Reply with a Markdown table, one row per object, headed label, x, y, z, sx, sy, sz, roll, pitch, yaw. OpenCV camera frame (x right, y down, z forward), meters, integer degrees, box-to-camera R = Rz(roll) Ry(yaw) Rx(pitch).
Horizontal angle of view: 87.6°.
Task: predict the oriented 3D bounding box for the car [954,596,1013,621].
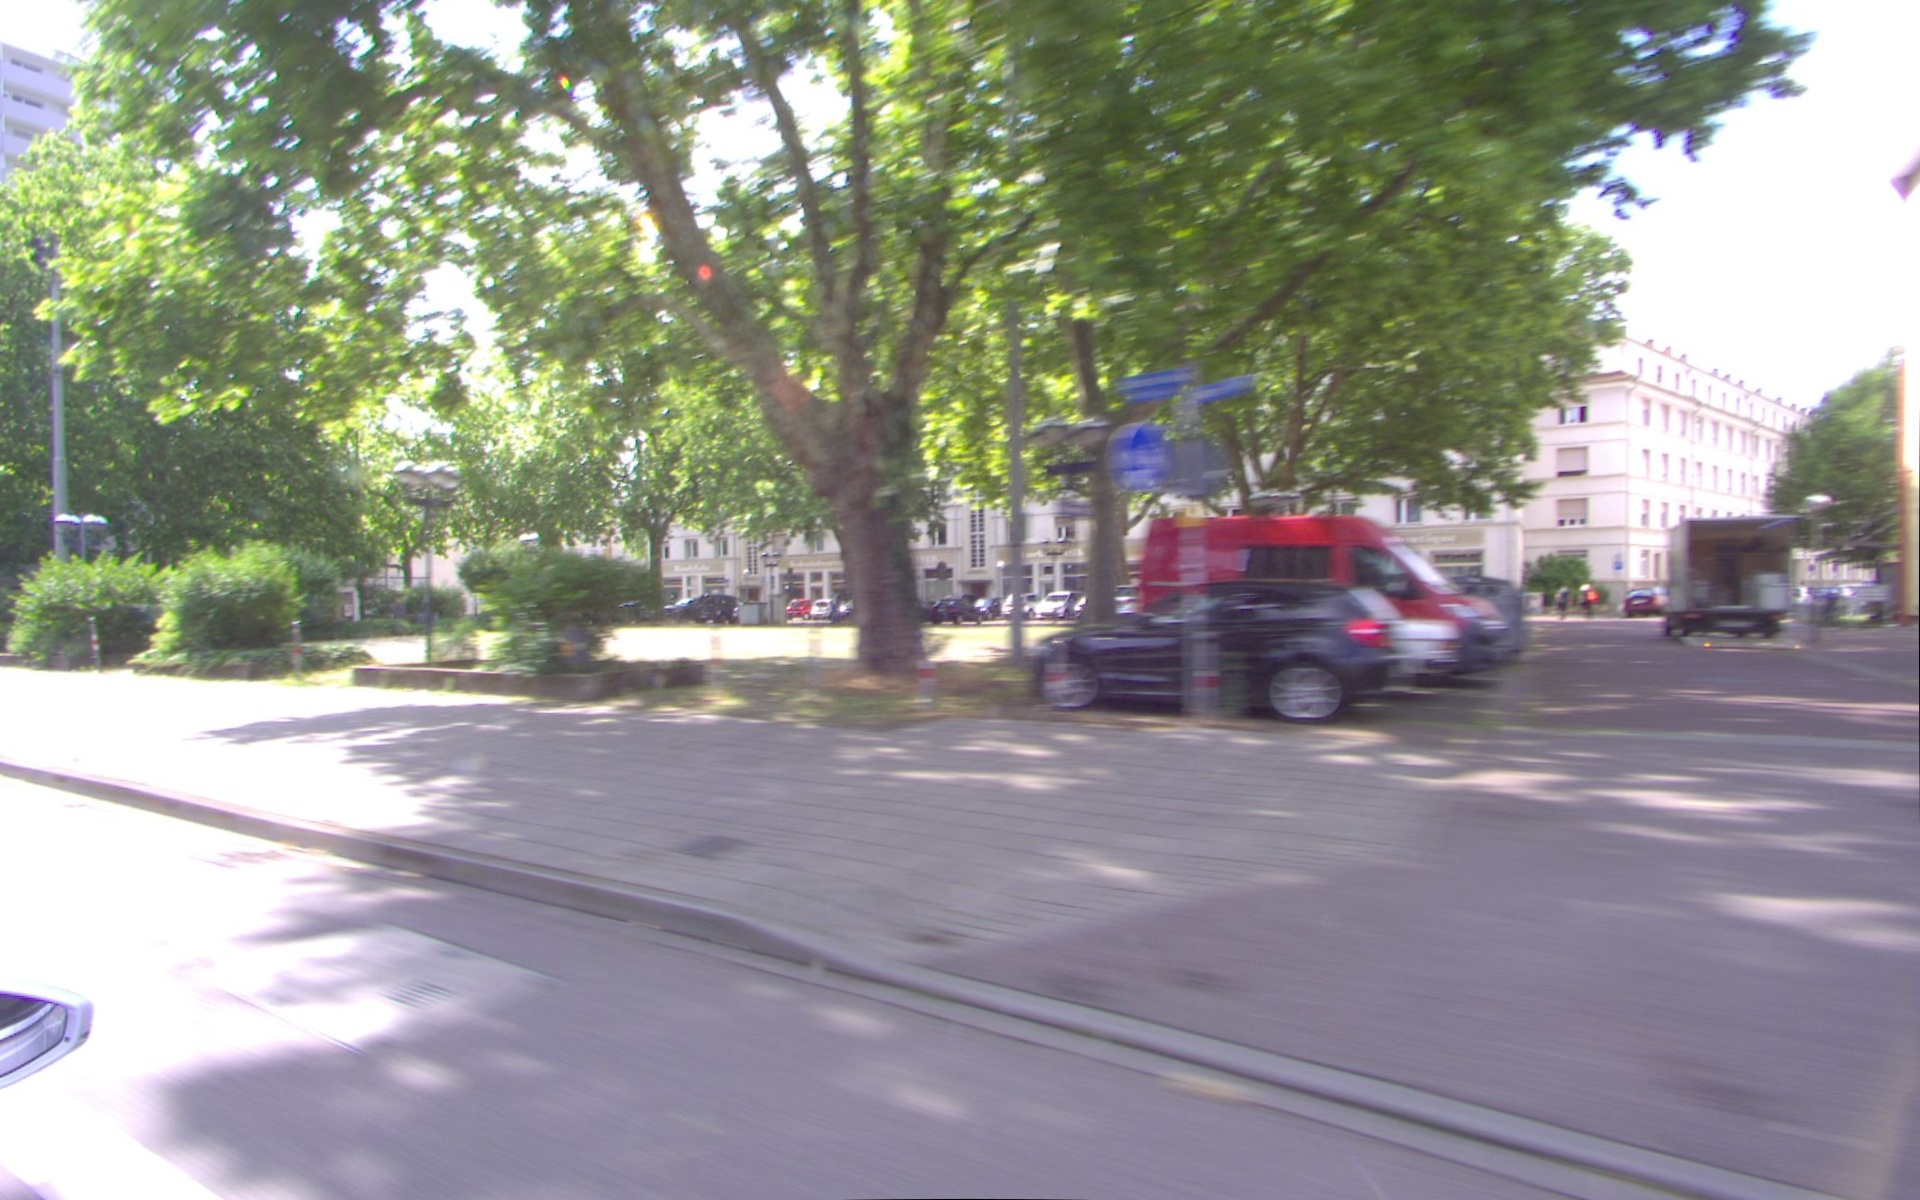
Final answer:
| label | x | y | z | sx | sy | sz | roll | pitch | yaw |
| --- | --- | --- | --- | --- | --- | --- | --- | --- | --- |
| car | 1.578 | 0.556 | 65.103 | 1.957 | 1.542 | 4.245 | 0 | 1 | 32 |

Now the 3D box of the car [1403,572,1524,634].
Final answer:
| label | x | y | z | sx | sy | sz | roll | pitch | yaw |
| --- | --- | --- | --- | --- | --- | --- | --- | --- | --- |
| car | 17.109 | 0.121 | 34.032 | 3.587 | 2.014 | 1.820 | 0 | 0 | 30 |

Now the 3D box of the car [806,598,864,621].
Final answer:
| label | x | y | z | sx | sy | sz | roll | pitch | yaw |
| --- | --- | --- | --- | --- | --- | --- | --- | --- | --- |
| car | -9.078 | 0.670 | 72.811 | 1.957 | 1.542 | 4.245 | 0 | 1 | 32 |

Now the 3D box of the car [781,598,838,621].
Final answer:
| label | x | y | z | sx | sy | sz | roll | pitch | yaw |
| --- | --- | --- | --- | --- | --- | --- | --- | --- | --- |
| car | -11.179 | 0.691 | 74.585 | 1.957 | 1.542 | 4.245 | 0 | 1 | 32 |

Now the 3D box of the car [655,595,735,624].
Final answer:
| label | x | y | z | sx | sy | sz | roll | pitch | yaw |
| --- | --- | --- | --- | --- | --- | --- | --- | --- | --- |
| car | -17.005 | 0.573 | 64.457 | 2.161 | 1.729 | 4.668 | 0 | 1 | 34 |

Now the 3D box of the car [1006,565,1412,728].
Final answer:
| label | x | y | z | sx | sy | sz | roll | pitch | yaw |
| --- | --- | --- | --- | --- | --- | --- | --- | --- | --- |
| car | 2.635 | 0.423 | 10.841 | 3.983 | 1.490 | 1.645 | 0 | 1 | 31 |

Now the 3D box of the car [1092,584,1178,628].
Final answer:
| label | x | y | z | sx | sy | sz | roll | pitch | yaw |
| --- | --- | --- | --- | --- | --- | --- | --- | --- | --- |
| car | 7.026 | 0.205 | 39.800 | 1.971 | 1.658 | 4.143 | 0 | 1 | 32 |

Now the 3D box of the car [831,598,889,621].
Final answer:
| label | x | y | z | sx | sy | sz | roll | pitch | yaw |
| --- | --- | --- | --- | --- | --- | --- | --- | --- | --- |
| car | -7.065 | 0.661 | 71.043 | 1.957 | 1.542 | 4.245 | 0 | 1 | 32 |

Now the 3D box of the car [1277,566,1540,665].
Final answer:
| label | x | y | z | sx | sy | sz | roll | pitch | yaw |
| --- | --- | --- | --- | --- | --- | --- | --- | --- | --- |
| car | 8.949 | 0.300 | 20.114 | 4.587 | 1.777 | 2.002 | 0 | 0 | 34 |

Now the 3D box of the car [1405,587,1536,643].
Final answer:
| label | x | y | z | sx | sy | sz | roll | pitch | yaw |
| --- | --- | --- | --- | --- | --- | --- | --- | --- | --- |
| car | 14.867 | 0.433 | 29.204 | 3.326 | 1.528 | 1.597 | 0 | 0 | 30 |

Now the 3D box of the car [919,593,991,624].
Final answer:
| label | x | y | z | sx | sy | sz | roll | pitch | yaw |
| --- | --- | --- | --- | --- | --- | --- | --- | --- | --- |
| car | -0.233 | 0.434 | 54.115 | 1.957 | 1.542 | 4.245 | 0 | 1 | 32 |

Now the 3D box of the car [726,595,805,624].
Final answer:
| label | x | y | z | sx | sy | sz | roll | pitch | yaw |
| --- | --- | --- | --- | --- | --- | --- | --- | --- | --- |
| car | -12.110 | 0.563 | 62.605 | 2.161 | 1.729 | 4.668 | 0 | 1 | 34 |

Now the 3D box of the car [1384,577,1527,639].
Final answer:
| label | x | y | z | sx | sy | sz | roll | pitch | yaw |
| --- | --- | --- | --- | --- | --- | --- | --- | --- | --- |
| car | 15.764 | 0.260 | 31.938 | 3.986 | 1.844 | 1.820 | 0 | 0 | 30 |

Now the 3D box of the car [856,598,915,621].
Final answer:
| label | x | y | z | sx | sy | sz | roll | pitch | yaw |
| --- | --- | --- | --- | --- | --- | --- | --- | --- | --- |
| car | -5.151 | 0.645 | 69.496 | 1.957 | 1.542 | 4.245 | 0 | 1 | 32 |

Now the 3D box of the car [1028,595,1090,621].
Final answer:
| label | x | y | z | sx | sy | sz | roll | pitch | yaw |
| --- | --- | --- | --- | --- | --- | --- | --- | --- | --- |
| car | 6.196 | 0.475 | 62.228 | 1.957 | 1.570 | 4.671 | 0 | 1 | 32 |

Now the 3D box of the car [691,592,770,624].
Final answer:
| label | x | y | z | sx | sy | sz | roll | pitch | yaw |
| --- | --- | --- | --- | --- | --- | --- | --- | --- | --- |
| car | -14.450 | 0.470 | 63.407 | 2.161 | 1.956 | 4.668 | 0 | 1 | 34 |

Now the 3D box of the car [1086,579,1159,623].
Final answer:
| label | x | y | z | sx | sy | sz | roll | pitch | yaw |
| --- | --- | --- | --- | --- | --- | --- | --- | --- | --- |
| car | 7.956 | 0.038 | 48.657 | 2.047 | 2.041 | 4.245 | 0 | 1 | 32 |

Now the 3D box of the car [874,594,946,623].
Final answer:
| label | x | y | z | sx | sy | sz | roll | pitch | yaw |
| --- | --- | --- | --- | --- | --- | --- | --- | --- | --- |
| car | -2.725 | 0.445 | 55.603 | 1.957 | 1.542 | 4.245 | 0 | 1 | 32 |

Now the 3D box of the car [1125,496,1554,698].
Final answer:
| label | x | y | z | sx | sy | sz | roll | pitch | yaw |
| --- | --- | --- | --- | --- | --- | --- | --- | --- | --- |
| car | 5.725 | -0.036 | 15.538 | 5.935 | 2.617 | 2.106 | 0 | 1 | 34 |

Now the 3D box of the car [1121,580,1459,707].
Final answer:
| label | x | y | z | sx | sy | sz | roll | pitch | yaw |
| --- | --- | --- | --- | --- | --- | --- | --- | --- | --- |
| car | 4.283 | 0.504 | 13.104 | 3.980 | 1.449 | 1.647 | 0 | 1 | 28 |

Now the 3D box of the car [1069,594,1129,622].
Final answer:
| label | x | y | z | sx | sy | sz | roll | pitch | yaw |
| --- | --- | --- | --- | --- | --- | --- | --- | --- | --- |
| car | 8.553 | 0.460 | 61.283 | 1.957 | 1.570 | 4.671 | 0 | 1 | 32 |

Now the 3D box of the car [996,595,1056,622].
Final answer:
| label | x | y | z | sx | sy | sz | roll | pitch | yaw |
| --- | --- | --- | --- | --- | --- | --- | --- | --- | --- |
| car | 4.221 | 0.517 | 63.645 | 1.957 | 1.570 | 4.415 | 0 | 1 | 32 |
